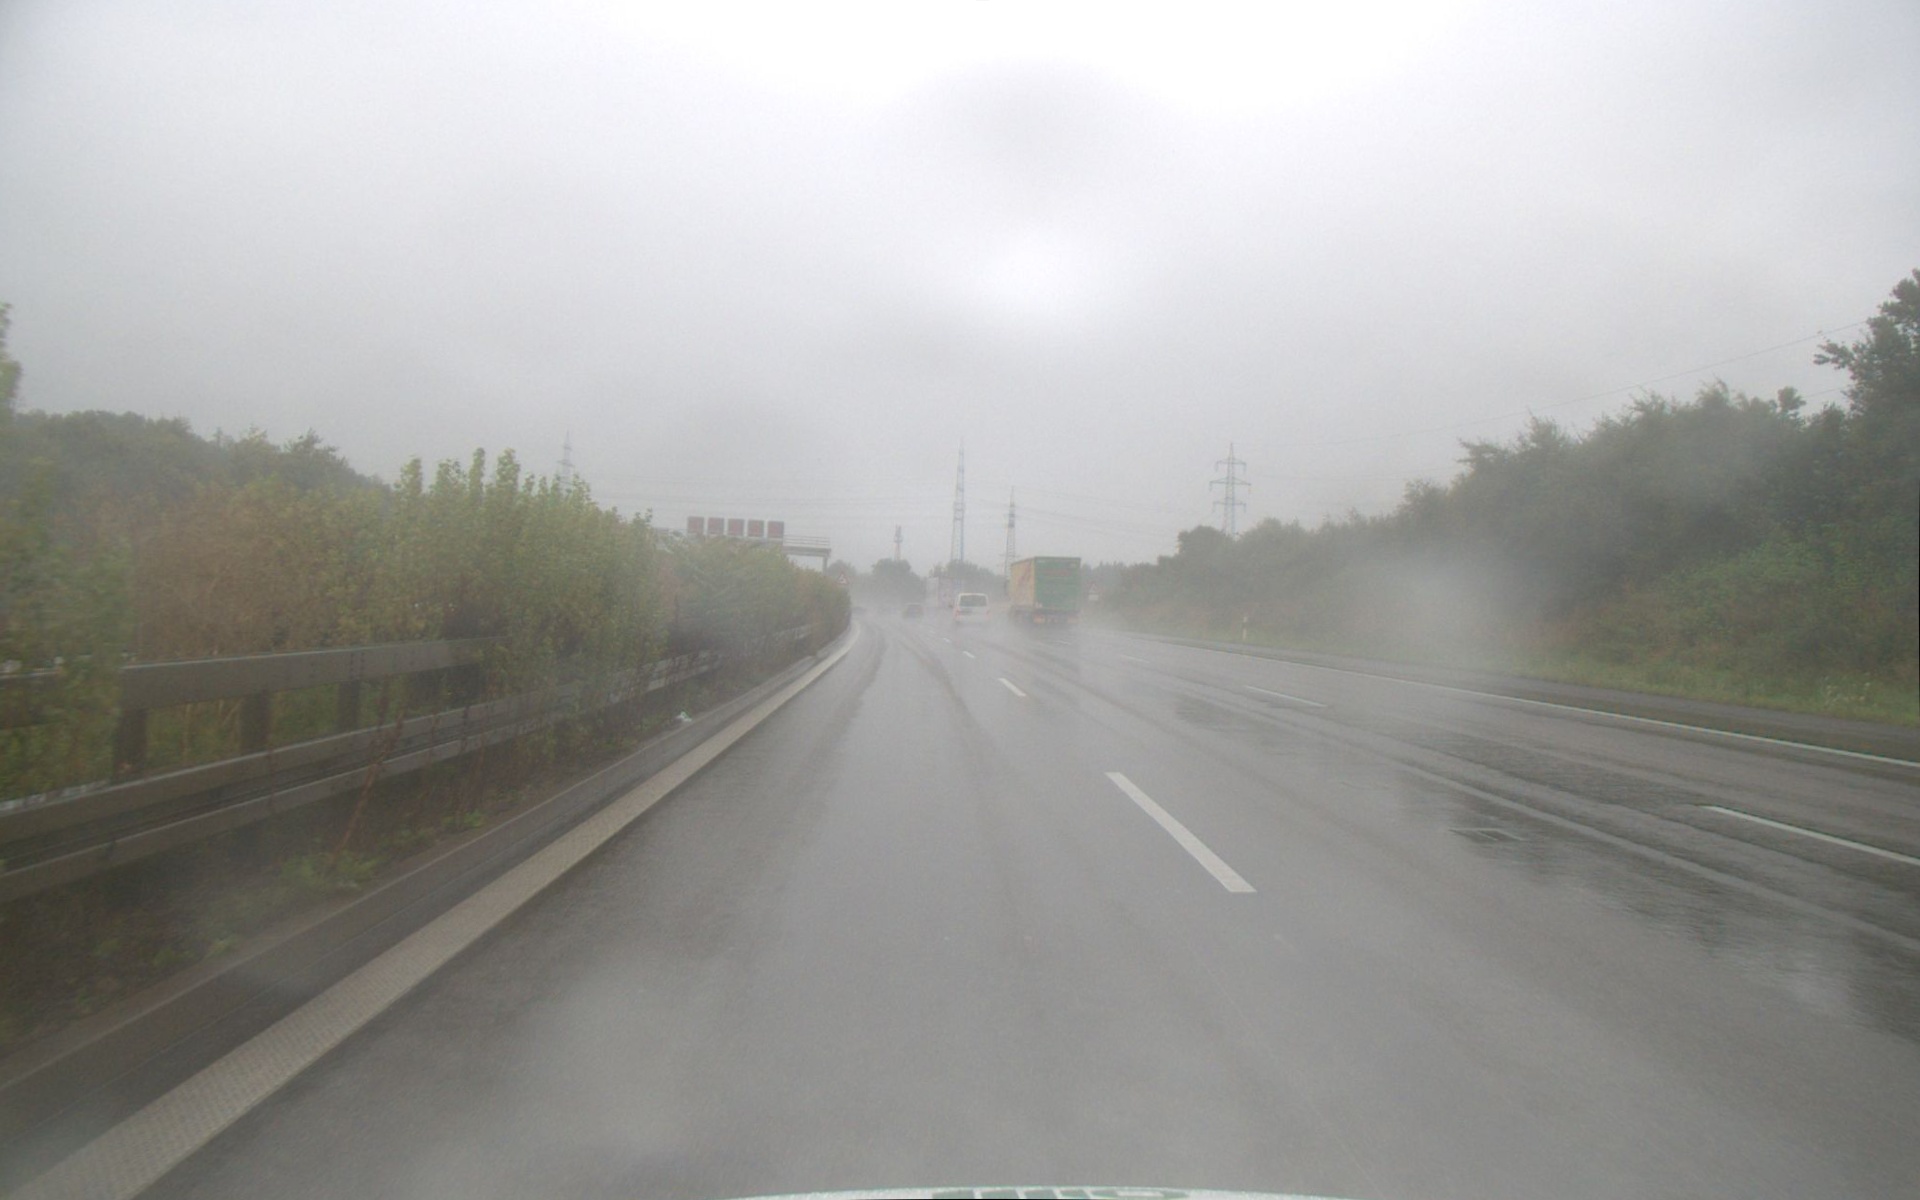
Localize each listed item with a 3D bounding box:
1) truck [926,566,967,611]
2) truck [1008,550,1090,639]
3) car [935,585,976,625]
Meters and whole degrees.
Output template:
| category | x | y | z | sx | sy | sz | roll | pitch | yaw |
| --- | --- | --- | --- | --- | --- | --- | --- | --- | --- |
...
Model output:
| category | x | y | z | sx | sy | sz | roll | pitch | yaw |
| --- | --- | --- | --- | --- | --- | --- | --- | --- | --- |
| truck | -1.407 | -1.156 | 165.297 | 3.171 | 4.387 | 8.823 | 1 | 0 | -7 |
| truck | 4.954 | -0.245 | 95.810 | 4.102 | 4.711 | 16.106 | 1 | 0 | 1 |
| car | -0.260 | 0.244 | 86.558 | 1.954 | 2.049 | 3.997 | 1 | 0 | -3 |
